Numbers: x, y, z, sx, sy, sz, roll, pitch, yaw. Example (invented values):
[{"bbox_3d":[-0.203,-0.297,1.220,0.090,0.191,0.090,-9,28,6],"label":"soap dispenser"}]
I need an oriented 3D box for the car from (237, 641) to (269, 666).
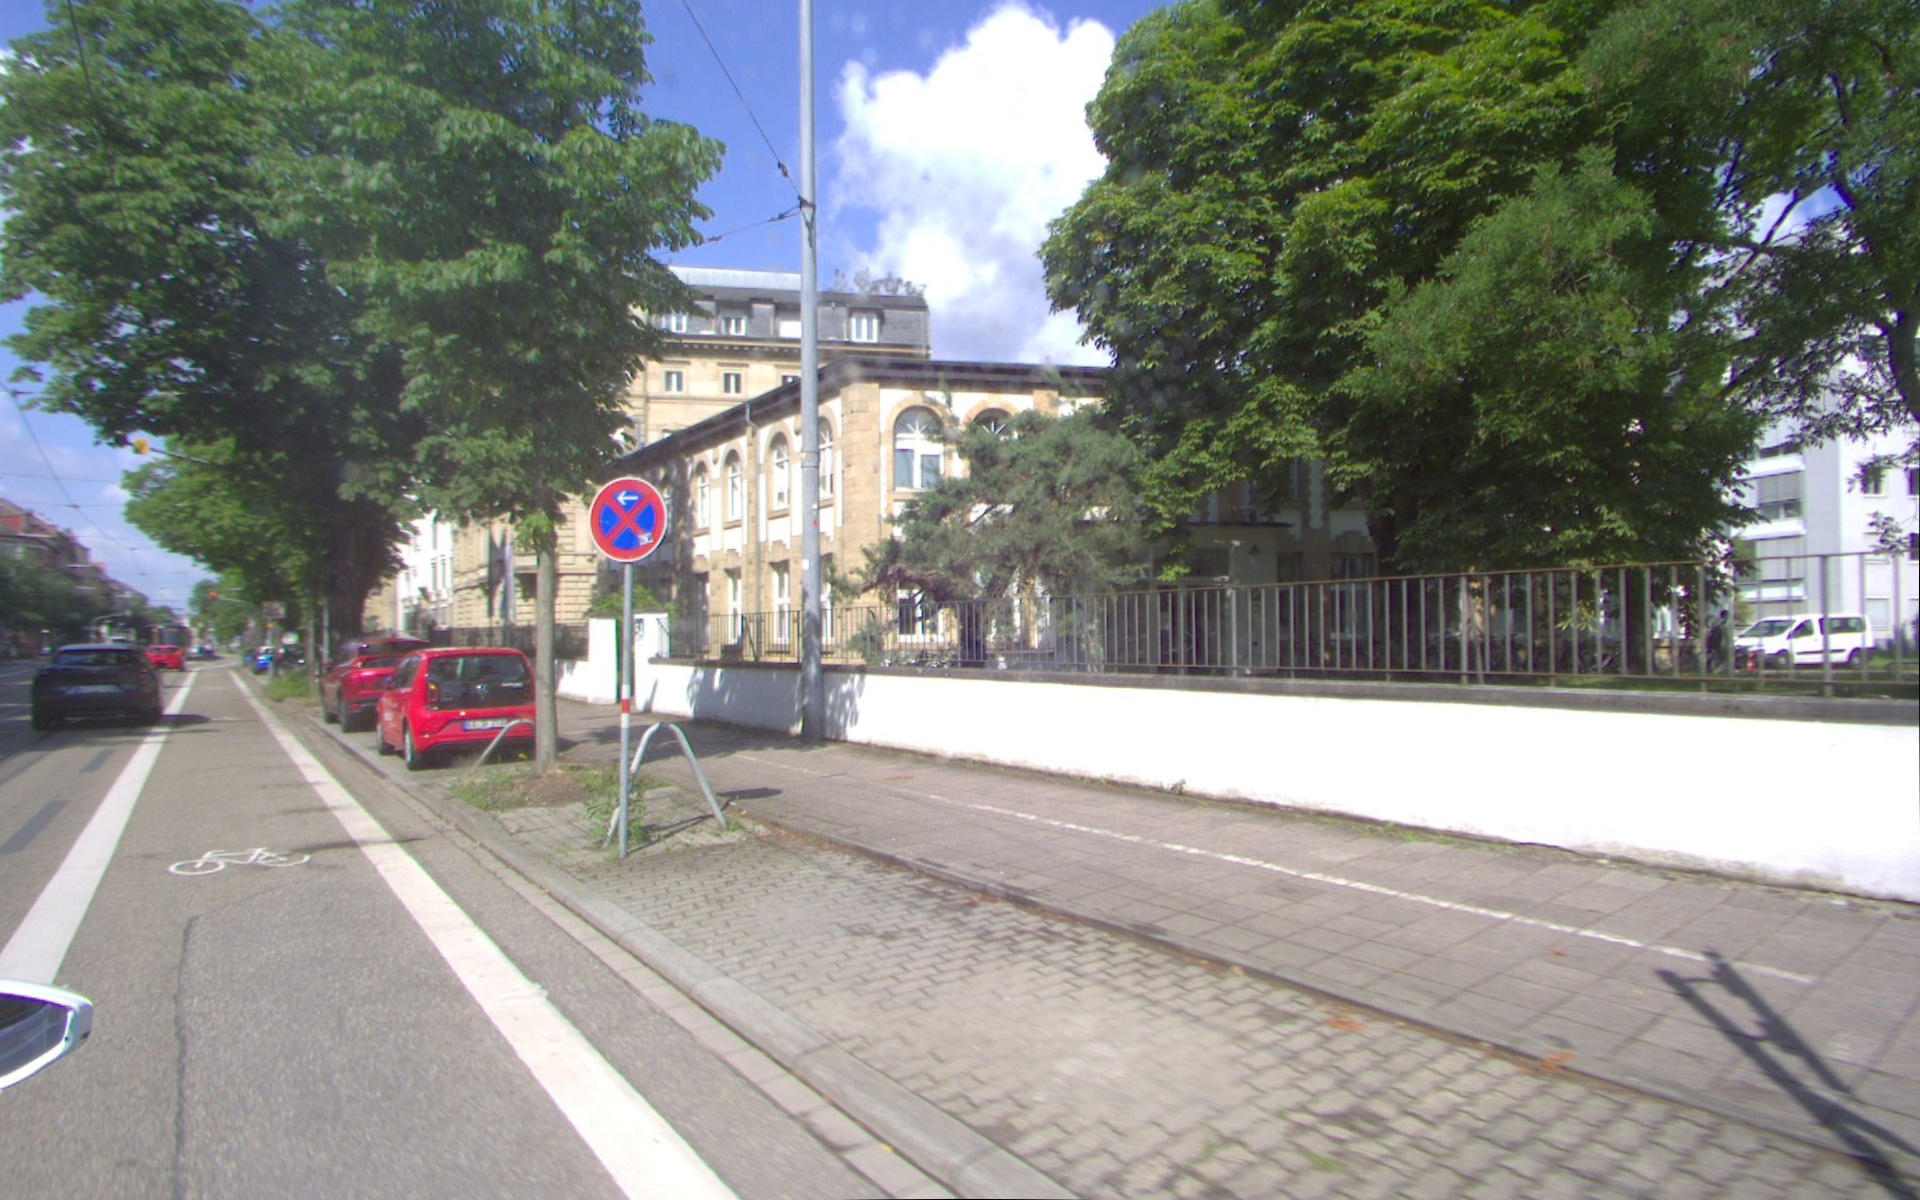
[{"bbox_3d":[-47.128,3.544,66.699,1.609,1.515,3.820,-1,-1,-37],"label":"car"}]

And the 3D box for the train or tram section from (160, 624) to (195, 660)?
[{"bbox_3d":[-81.239,4.379,103.917,2.631,3.572,8.428,0,-2,-40],"label":"train or tram section"}]

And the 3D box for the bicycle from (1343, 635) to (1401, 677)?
[{"bbox_3d":[10.349,1.385,25.217,0.419,1.000,1.819,1,-1,-10],"label":"bicycle"}]

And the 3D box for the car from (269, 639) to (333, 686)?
[{"bbox_3d":[-25.015,2.328,37.938,1.682,1.611,4.172,-1,-2,-38],"label":"car"}]

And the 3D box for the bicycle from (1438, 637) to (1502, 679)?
[{"bbox_3d":[13.028,1.463,25.644,0.419,1.000,1.819,1,-1,-10],"label":"bicycle"}]

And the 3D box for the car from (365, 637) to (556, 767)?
[{"bbox_3d":[-6.911,1.287,13.682,1.586,1.447,3.569,-3,-1,-38],"label":"car"}]

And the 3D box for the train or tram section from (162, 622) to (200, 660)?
[{"bbox_3d":[-75.821,4.027,97.404,2.631,3.572,8.428,0,-2,-40],"label":"train or tram section"}]

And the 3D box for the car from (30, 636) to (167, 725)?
[{"bbox_3d":[-16.757,1.491,19.651,1.775,1.531,4.318,3,-3,-38],"label":"car"}]

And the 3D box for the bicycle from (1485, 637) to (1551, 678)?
[{"bbox_3d":[14.446,1.465,25.990,0.419,1.000,1.819,1,-1,-10],"label":"bicycle"}]

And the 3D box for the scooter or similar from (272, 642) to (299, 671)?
[{"bbox_3d":[-31.930,2.661,47.384,1.162,1.317,0.441,-1,2,22],"label":"scooter or similar"}]

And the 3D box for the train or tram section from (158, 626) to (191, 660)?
[{"bbox_3d":[-86.630,4.732,110.414,2.631,3.572,8.428,0,-2,-40],"label":"train or tram section"}]

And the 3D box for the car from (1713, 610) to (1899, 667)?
[{"bbox_3d":[29.442,1.313,34.929,4.994,1.887,2.038,0,1,-5],"label":"car"}]

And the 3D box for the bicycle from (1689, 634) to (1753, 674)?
[{"bbox_3d":[20.196,1.430,26.610,0.419,1.000,1.458,1,-1,-9],"label":"bicycle"}]

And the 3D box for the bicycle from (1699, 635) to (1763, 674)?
[{"bbox_3d":[20.717,1.460,26.929,0.419,1.000,1.457,1,-1,-10],"label":"bicycle"}]

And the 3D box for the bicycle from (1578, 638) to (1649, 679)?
[{"bbox_3d":[17.271,1.530,26.517,0.419,1.000,1.819,1,-1,-10],"label":"bicycle"}]

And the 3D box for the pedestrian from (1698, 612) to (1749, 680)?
[{"bbox_3d":[18.765,1.121,24.626,0.842,1.644,0.569,0,-1,-13],"label":"pedestrian"}]

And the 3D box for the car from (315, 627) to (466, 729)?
[{"bbox_3d":[-11.059,1.423,19.305,1.860,1.698,4.249,-1,-1,-39],"label":"car"}]

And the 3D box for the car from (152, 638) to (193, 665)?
[{"bbox_3d":[-45.479,2.934,57.786,1.771,1.511,4.844,1,-2,-39],"label":"car"}]

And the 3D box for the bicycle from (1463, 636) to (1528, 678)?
[{"bbox_3d":[13.750,1.447,25.773,0.419,1.000,1.819,1,-1,-10],"label":"bicycle"}]

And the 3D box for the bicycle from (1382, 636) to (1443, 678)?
[{"bbox_3d":[11.447,1.419,25.379,0.419,1.000,1.819,1,-1,-10],"label":"bicycle"}]

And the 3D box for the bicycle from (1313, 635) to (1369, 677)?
[{"bbox_3d":[9.550,1.387,25.187,0.419,1.000,1.819,1,-1,-10],"label":"bicycle"}]

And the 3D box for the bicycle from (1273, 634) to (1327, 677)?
[{"bbox_3d":[8.406,1.366,24.806,0.419,1.000,1.819,1,-1,-10],"label":"bicycle"}]

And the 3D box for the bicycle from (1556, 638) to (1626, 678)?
[{"bbox_3d":[16.580,1.511,26.356,0.419,1.000,1.819,1,-1,-10],"label":"bicycle"}]

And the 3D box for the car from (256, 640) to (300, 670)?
[{"bbox_3d":[-36.043,2.886,52.893,1.626,1.515,3.599,-1,-1,-38],"label":"car"}]

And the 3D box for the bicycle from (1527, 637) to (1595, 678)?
[{"bbox_3d":[15.633,1.478,26.109,0.419,1.000,1.819,1,-1,-10],"label":"bicycle"}]

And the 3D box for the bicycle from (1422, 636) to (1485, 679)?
[{"bbox_3d":[12.525,1.445,25.462,0.419,1.000,1.819,1,-1,-10],"label":"bicycle"}]
